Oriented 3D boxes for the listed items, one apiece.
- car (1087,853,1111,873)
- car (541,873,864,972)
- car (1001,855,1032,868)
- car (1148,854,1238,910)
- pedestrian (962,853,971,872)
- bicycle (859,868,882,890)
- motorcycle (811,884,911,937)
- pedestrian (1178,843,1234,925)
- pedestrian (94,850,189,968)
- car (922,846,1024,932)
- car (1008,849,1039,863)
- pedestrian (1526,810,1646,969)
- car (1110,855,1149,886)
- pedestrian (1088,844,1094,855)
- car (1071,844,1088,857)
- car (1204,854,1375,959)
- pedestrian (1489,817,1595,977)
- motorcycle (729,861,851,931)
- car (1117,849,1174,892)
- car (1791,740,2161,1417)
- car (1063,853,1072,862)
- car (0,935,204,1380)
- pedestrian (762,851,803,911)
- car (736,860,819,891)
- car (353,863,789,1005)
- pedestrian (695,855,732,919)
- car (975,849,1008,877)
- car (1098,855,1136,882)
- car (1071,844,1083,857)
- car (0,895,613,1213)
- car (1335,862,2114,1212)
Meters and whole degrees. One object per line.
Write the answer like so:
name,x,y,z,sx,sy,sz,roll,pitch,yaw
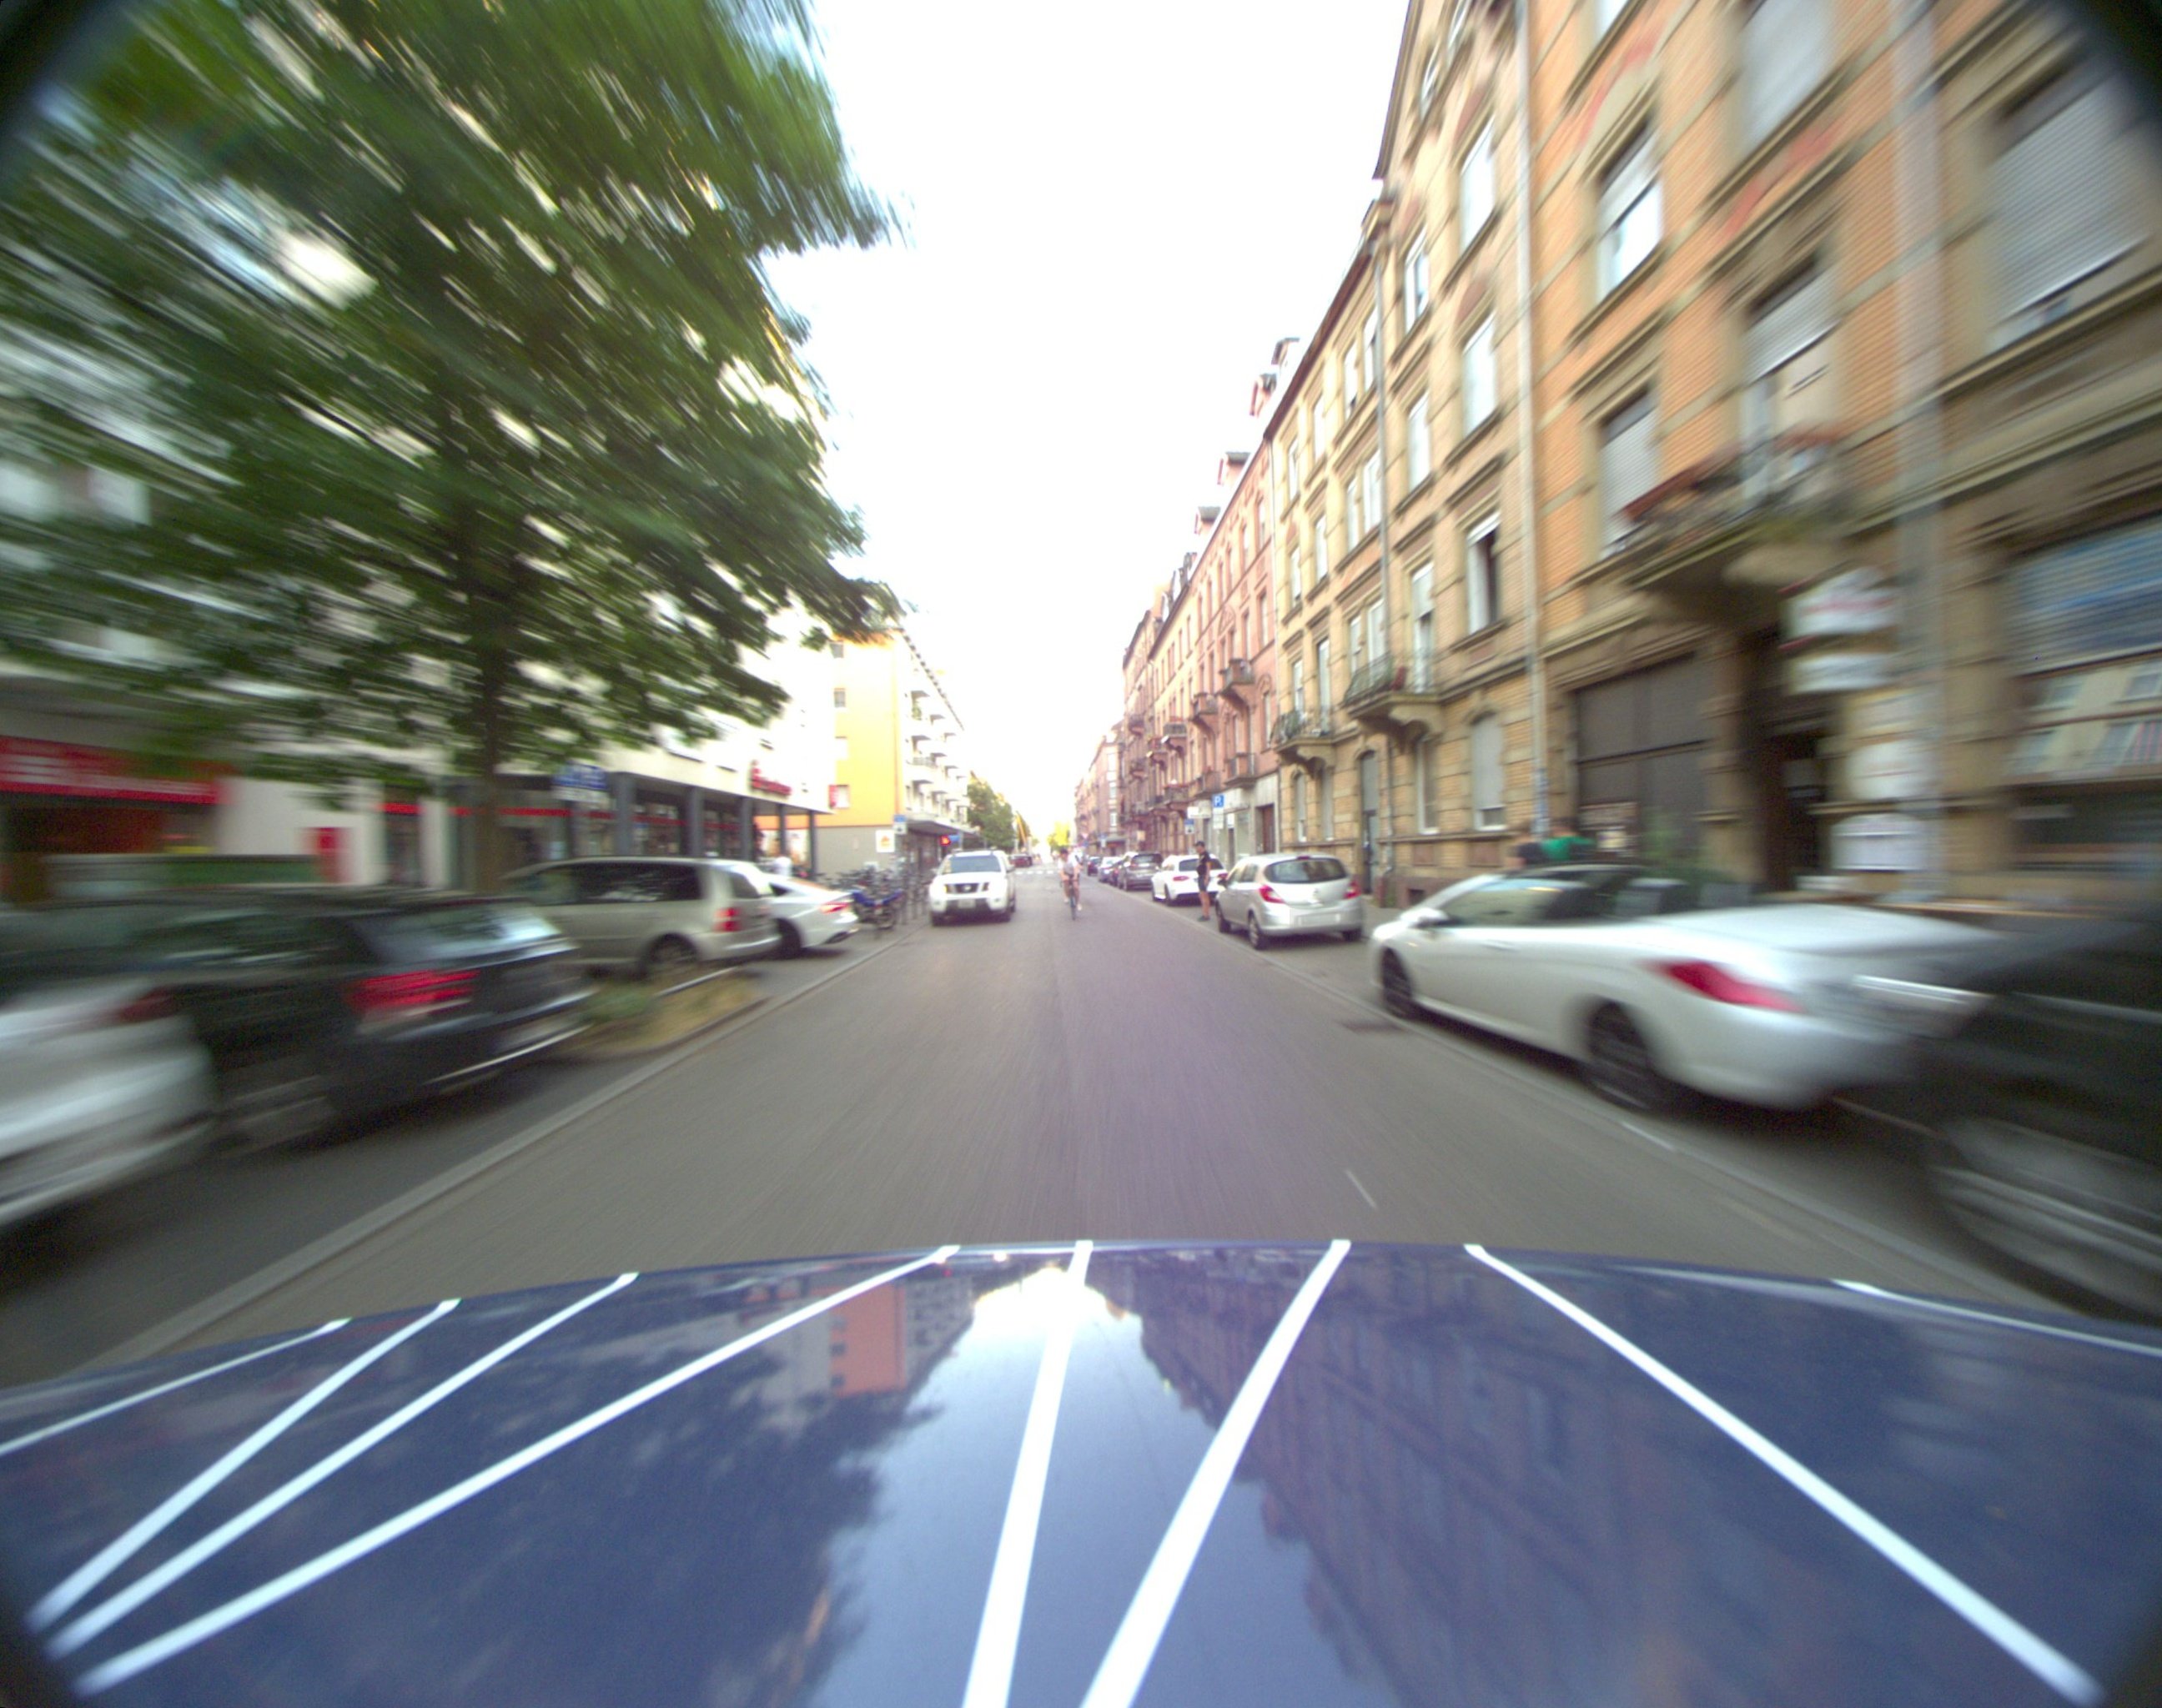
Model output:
car,1.346,0.677,59.069,1.698,1.412,3.854,-3,0,0
car,-6.013,1.051,12.579,4.437,1.447,1.778,0,0,-9
car,-9.273,1.098,109.464,4.006,1.658,1.823,-3,2,-34
car,3.199,0.765,22.590,1.763,1.403,4.507,-3,0,-3
pedestrian,-9.860,0.727,65.505,0.710,1.656,0.744,0,2,-3
bicycle,-11.286,1.321,40.748,0.564,1.061,1.963,-1,2,2
motorcycle,-4.854,1.230,16.804,2.066,1.072,0.663,0,1,-18
pedestrian,2.777,0.651,16.894,1.019,1.745,0.557,-1,2,42
pedestrian,-14.486,0.834,11.732,0.627,1.743,0.588,-2,2,6
car,-2.627,0.764,19.724,1.916,1.842,5.269,-2,1,-1
car,-10.424,0.385,138.079,5.153,2.182,2.333,-3,2,-28
pedestrian,6.053,0.411,9.163,0.581,1.761,0.997,-5,0,-7
car,2.424,0.824,38.615,1.589,1.412,3.696,-3,0,-2
pedestrian,1.636,-0.774,125.421,0.748,1.733,1.213,-3,1,7
car,-0.277,-0.513,116.195,2.142,1.947,4.767,-3,0,-4
car,3.406,0.779,13.229,1.721,1.449,3.999,-4,0,-1
pedestrian,5.416,0.489,8.971,0.607,1.762,0.777,-5,0,-7
motorcycle,-6.711,0.955,17.606,2.498,1.540,0.824,1,1,0
car,2.716,0.680,32.919,1.858,1.624,4.445,-3,0,-3
car,4.135,0.574,0.701,1.999,1.912,4.949,-4,0,-5
car,-3.070,0.786,176.207,1.998,1.729,3.999,-2,1,1
car,-5.520,1.034,2.128,3.806,1.444,1.734,1,0,-8
pedestrian,-8.770,0.796,22.299,0.915,1.713,0.774,1,-1,-39
car,-16.071,1.116,40.415,3.677,1.467,1.705,-2,1,-1
car,-6.321,0.951,9.845,4.411,1.638,1.746,0,0,-3
pedestrian,-9.948,0.885,20.572,0.663,1.713,0.664,-2,-1,39
car,-6.542,0.625,55.953,1.964,1.962,5.001,0,0,-2
car,2.037,0.792,44.498,1.727,1.412,4.580,-3,0,-3
car,-0.654,-0.520,122.322,1.879,1.892,4.325,-3,0,-2
car,-5.431,1.035,4.617,3.999,1.447,1.827,0,0,-5
car,3.732,0.846,5.713,1.789,1.414,4.483,-4,0,-4
